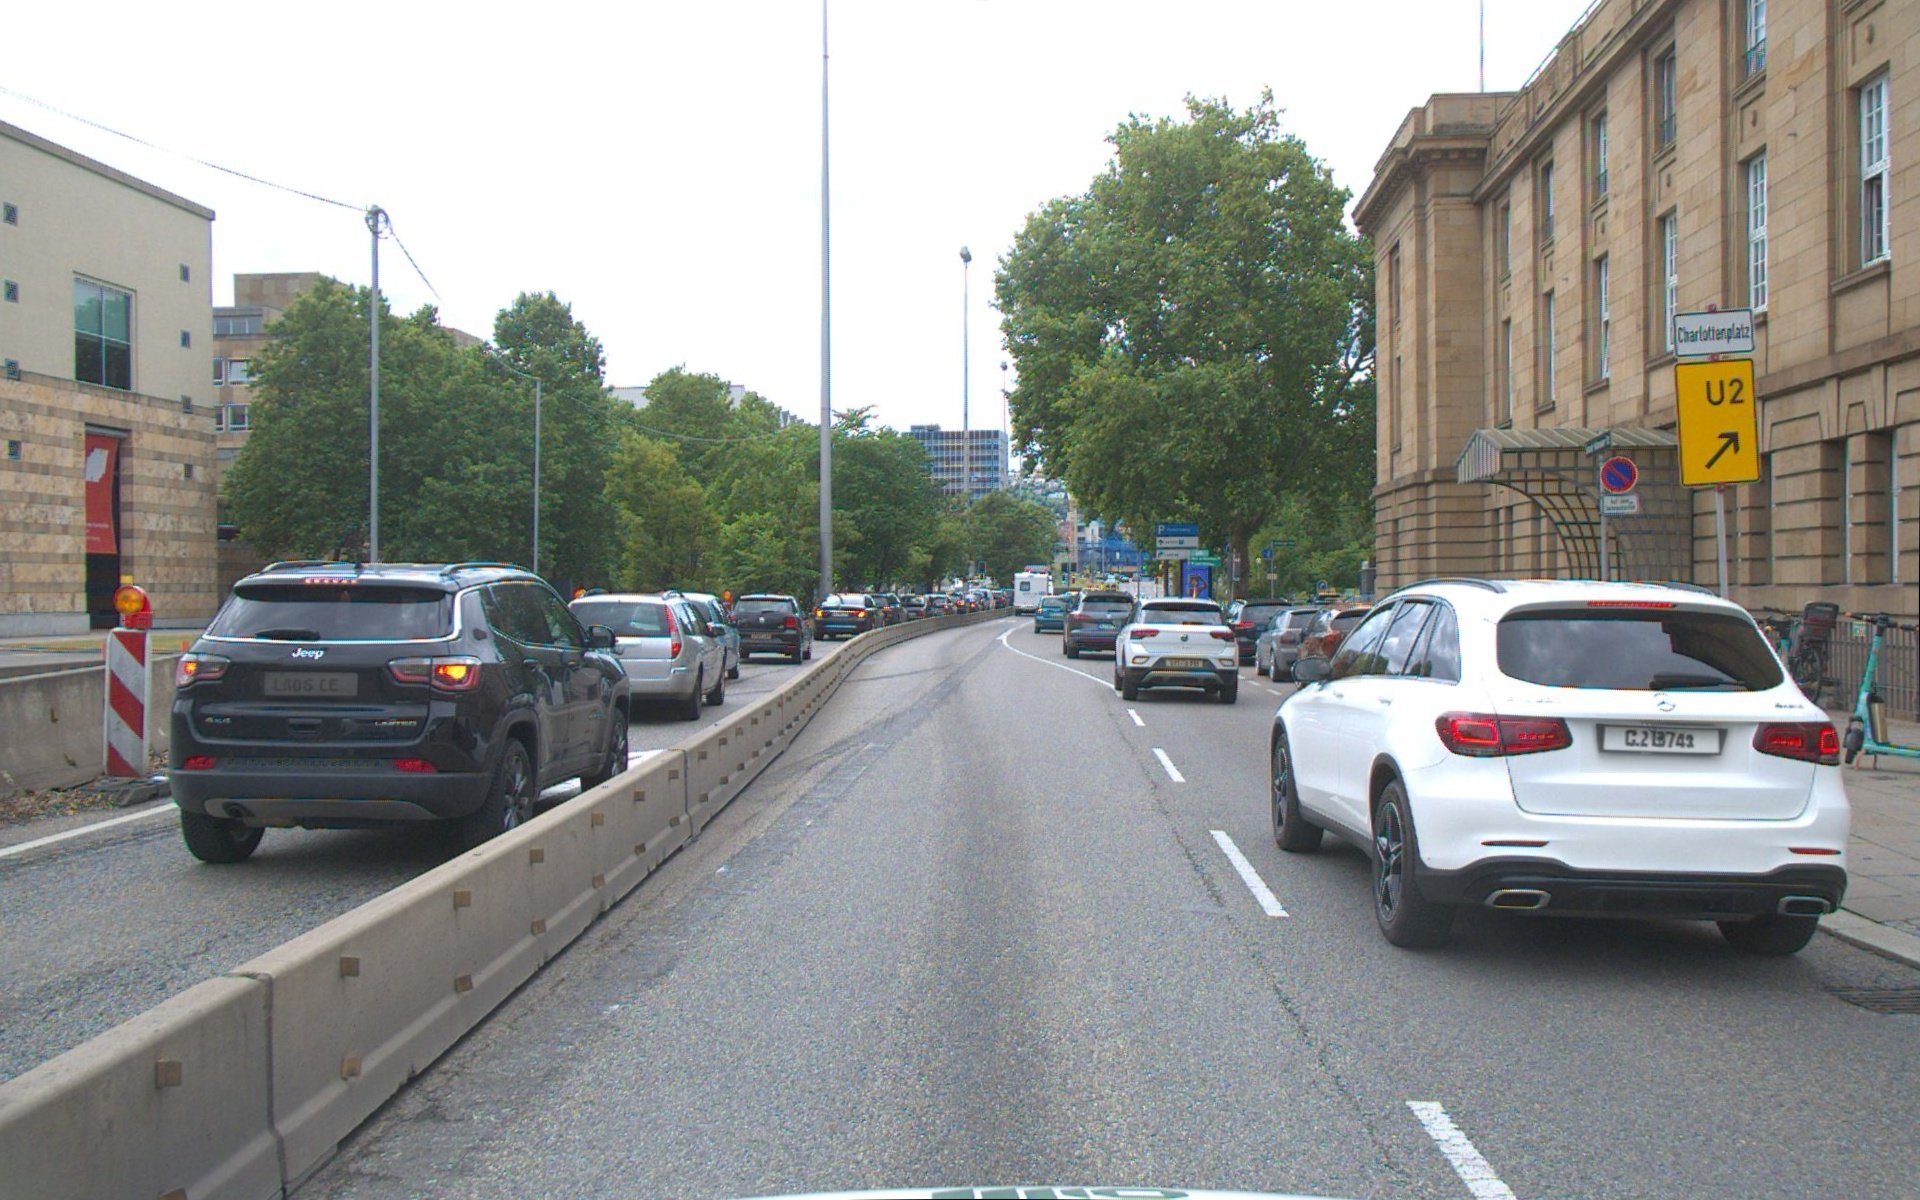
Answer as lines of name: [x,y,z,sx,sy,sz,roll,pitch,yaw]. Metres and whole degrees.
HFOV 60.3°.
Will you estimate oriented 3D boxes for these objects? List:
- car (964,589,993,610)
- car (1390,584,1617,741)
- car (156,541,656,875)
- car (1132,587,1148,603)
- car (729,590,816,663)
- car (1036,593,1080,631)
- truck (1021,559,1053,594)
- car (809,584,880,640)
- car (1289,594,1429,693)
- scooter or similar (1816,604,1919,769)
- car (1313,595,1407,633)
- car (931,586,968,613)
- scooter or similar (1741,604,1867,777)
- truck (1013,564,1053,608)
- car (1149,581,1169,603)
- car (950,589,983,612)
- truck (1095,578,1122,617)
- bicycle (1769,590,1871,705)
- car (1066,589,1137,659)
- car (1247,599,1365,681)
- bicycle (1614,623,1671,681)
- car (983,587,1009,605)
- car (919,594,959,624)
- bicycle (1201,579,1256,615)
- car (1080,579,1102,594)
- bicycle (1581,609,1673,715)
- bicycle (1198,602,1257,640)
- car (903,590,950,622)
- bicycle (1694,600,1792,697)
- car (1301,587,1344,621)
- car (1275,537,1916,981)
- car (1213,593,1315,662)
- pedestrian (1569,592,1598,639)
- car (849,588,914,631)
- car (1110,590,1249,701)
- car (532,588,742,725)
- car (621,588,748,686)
car: [1.267,-0.049,112.317,1.624,1.343,3.550,1,0,6]
car: [6.225,0.653,19.333,1.513,1.579,3.710,-3,0,3]
car: [-3.143,0.546,10.304,1.740,1.649,4.046,1,0,0]
car: [20.198,-0.566,185.382,1.721,1.698,4.171,0,1,5]
car: [-4.070,0.548,36.440,1.626,1.479,4.195,1,0,-3]
car: [3.899,0.465,65.393,1.624,1.438,3.549,1,0,5]
truck: [7.080,-2.141,151.254,2.635,3.044,5.641,2,0,4]
car: [-3.611,0.355,52.564,1.884,1.664,4.936,1,0,0]
car: [6.451,0.658,27.105,1.582,1.480,3.860,-1,0,4]
scooter or similar: [7.530,0.675,13.166,0.443,1.275,1.363,0,-1,-16]
car: [17.359,0.586,71.921,3.755,1.596,1.680,0,0,5]
car: [-0.553,-0.058,90.285,1.738,1.445,4.002,0,1,4]
scooter or similar: [6.662,0.680,13.108,0.371,1.283,1.404,0,0,4]
truck: [5.179,-0.976,116.880,2.566,2.911,7.082,1,0,4]
car: [19.812,-0.791,164.726,1.951,2.049,4.003,1,0,6]
car: [0.402,0.015,97.835,1.624,1.343,3.549,1,0,4]
truck: [16.364,-0.289,182.714,2.816,4.175,6.642,1,0,5]
bicycle: [10.248,0.538,19.754,0.403,1.310,1.791,0,0,4]
car: [3.533,0.569,41.808,1.624,1.668,3.548,1,0,2]
car: [6.678,0.735,32.251,1.672,1.451,3.998,-1,0,3]
bicycle: [10.817,0.809,26.258,0.299,0.859,1.879,2,0,6]
car: [2.700,-0.298,123.484,1.624,1.343,3.550,1,0,6]
car: [-1.017,0.438,81.891,1.626,1.461,3.962,1,0,5]
bicycle: [8.613,-0.100,53.094,1.692,1.110,0.381,1,0,18]
car: [12.104,-1.230,152.350,1.906,1.343,4.019,1,0,6]
bicycle: [7.931,0.710,19.721,0.450,1.177,1.832,0,0,3]
bicycle: [7.971,0.627,49.346,1.629,1.093,0.585,1,0,24]
car: [-1.469,0.232,73.897,1.642,1.391,4.546,0,0,5]
bicycle: [10.494,0.625,22.232,0.543,1.238,1.917,0,0,4]
car: [18.449,0.182,84.308,1.723,1.579,4.030,0,2,6]
car: [2.884,0.610,8.639,1.751,1.653,4.438,2,0,2]
car: [7.074,0.603,38.863,1.751,1.512,4.327,1,0,2]
pedestrian: [11.953,0.297,31.702,0.420,0.889,0.373,2,0,6]
car: [-2.821,0.314,60.648,1.778,1.525,4.772,0,0,5]
car: [3.406,0.665,26.256,1.759,1.636,3.755,0,0,1]
car: [-3.925,0.629,20.859,1.840,1.507,4.703,1,0,-2]
car: [-4.606,0.581,28.090,1.639,1.533,3.852,1,0,-2]
